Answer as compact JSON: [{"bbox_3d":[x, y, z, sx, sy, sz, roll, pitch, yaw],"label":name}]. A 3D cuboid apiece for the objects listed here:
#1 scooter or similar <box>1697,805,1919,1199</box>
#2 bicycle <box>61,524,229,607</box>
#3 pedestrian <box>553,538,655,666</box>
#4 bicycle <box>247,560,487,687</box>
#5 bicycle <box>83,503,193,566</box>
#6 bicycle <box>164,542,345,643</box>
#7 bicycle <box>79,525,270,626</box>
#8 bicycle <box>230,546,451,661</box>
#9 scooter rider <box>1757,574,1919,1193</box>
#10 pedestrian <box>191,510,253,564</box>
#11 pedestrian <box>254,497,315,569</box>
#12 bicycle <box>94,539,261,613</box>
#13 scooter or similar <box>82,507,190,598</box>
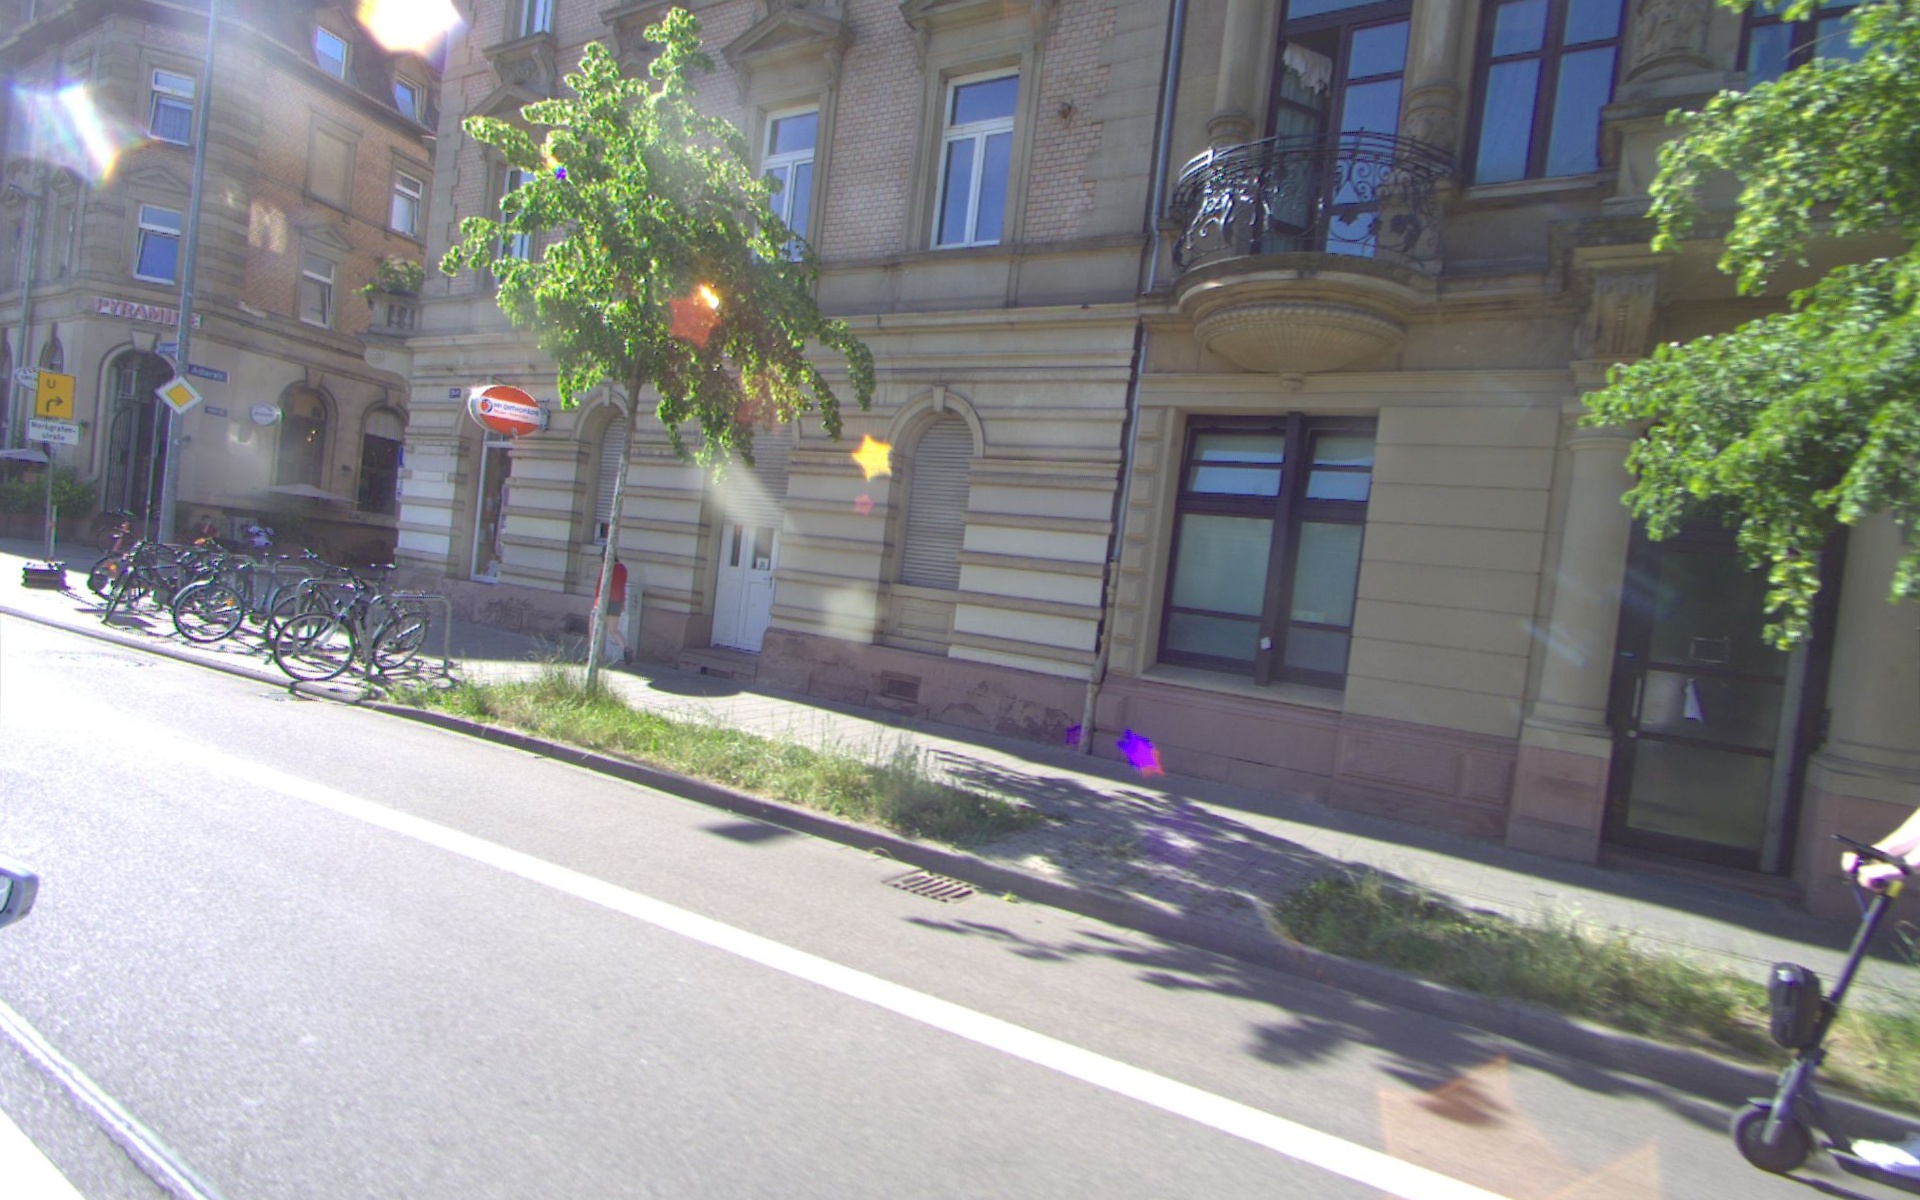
[{"bbox_3d":[3.259,1.437,3.328,1.151,1.241,0.491,7,0,31],"label":"scooter or similar"},{"bbox_3d":[-11.227,-0.453,13.911,0.597,0.956,1.668,8,2,38],"label":"bicycle"},{"bbox_3d":[-4.691,0.036,13.267,0.911,1.561,0.710,7,1,31],"label":"pedestrian"},{"bbox_3d":[-6.049,0.216,10.413,0.832,1.107,1.998,7,3,21],"label":"bicycle"},{"bbox_3d":[-19.320,-1.529,23.667,0.643,1.186,1.818,12,3,35],"label":"bicycle"},{"bbox_3d":[-8.255,-0.071,11.835,0.597,1.060,1.598,8,3,34],"label":"bicycle"},{"bbox_3d":[-9.663,-0.271,12.437,0.597,1.116,1.722,8,3,34],"label":"bicycle"},{"bbox_3d":[-6.986,0.050,11.454,0.698,1.143,1.994,8,3,32],"label":"bicycle"},{"bbox_3d":[3.355,0.931,3.294,0.886,1.882,0.667,8,0,30],"label":"scooter rider"},{"bbox_3d":[-19.069,-1.620,26.016,0.917,1.229,0.852,7,0,24],"label":"pedestrian"},{"bbox_3d":[-18.439,-1.821,27.474,0.852,1.782,0.909,7,0,24],"label":"pedestrian"},{"bbox_3d":[-10.609,-0.311,13.692,0.597,0.832,1.668,8,2,37],"label":"bicycle"},{"bbox_3d":[-12.211,-0.690,14.929,0.412,1.205,1.110,8,2,38],"label":"scooter or similar"}]
